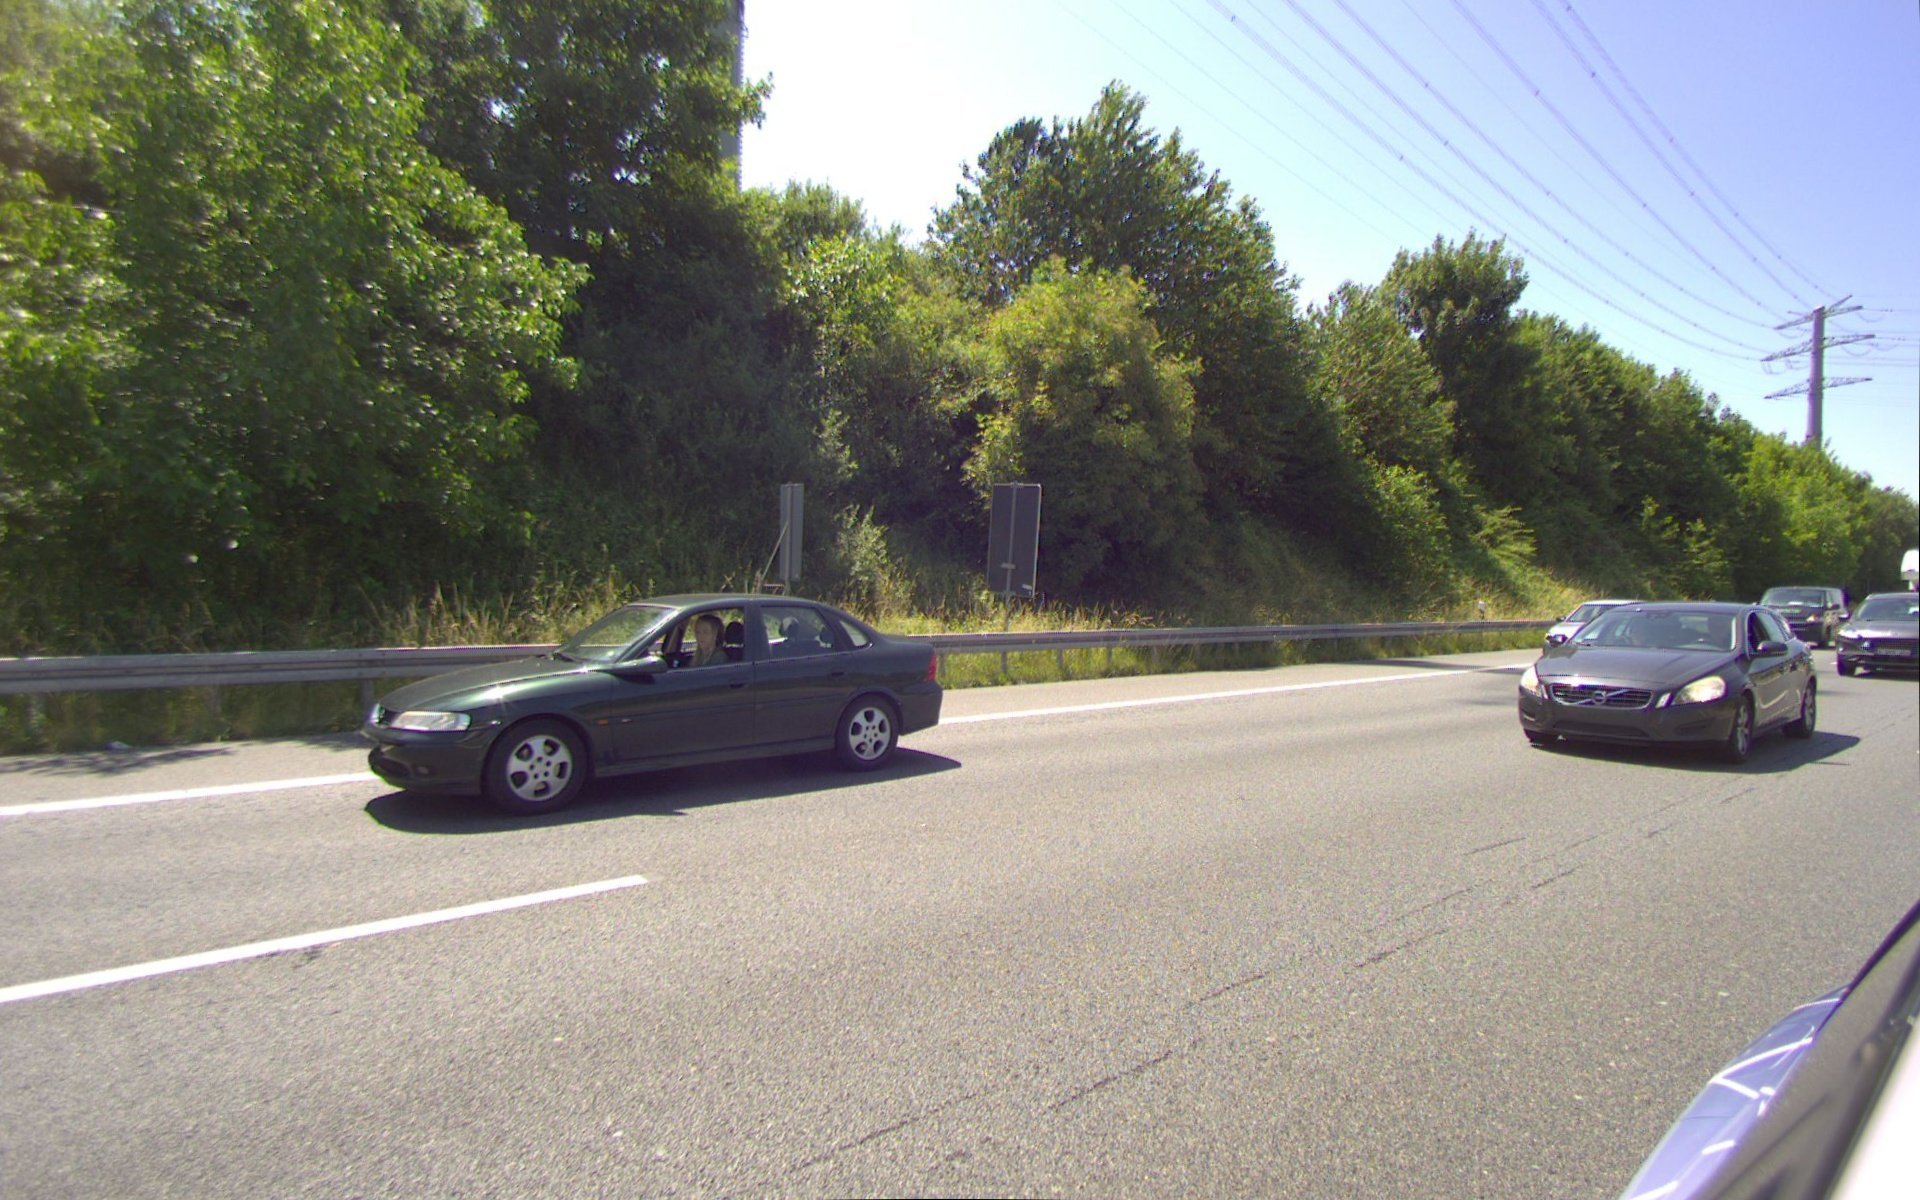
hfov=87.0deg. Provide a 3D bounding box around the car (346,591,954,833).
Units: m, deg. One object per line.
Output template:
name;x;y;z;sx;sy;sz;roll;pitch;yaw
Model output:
car;-2.202;0.633;7.900;4.227;1.395;1.737;0;0;-41

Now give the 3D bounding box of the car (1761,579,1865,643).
car;27.537;0.322;32.631;4.615;1.928;1.787;0;0;-40

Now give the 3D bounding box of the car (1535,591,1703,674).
car;13.279;0.579;20.311;3.942;1.488;1.744;0;0;-39

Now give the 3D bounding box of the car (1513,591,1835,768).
car;7.469;0.639;10.434;4.157;1.455;1.799;0;1;-41

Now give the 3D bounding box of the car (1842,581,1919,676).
car;19.030;0.505;19.976;4.307;1.724;1.890;0;0;-41

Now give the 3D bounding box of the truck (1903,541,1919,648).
truck;31.937;-0.185;31.446;9.718;3.053;2.514;0;0;-39
